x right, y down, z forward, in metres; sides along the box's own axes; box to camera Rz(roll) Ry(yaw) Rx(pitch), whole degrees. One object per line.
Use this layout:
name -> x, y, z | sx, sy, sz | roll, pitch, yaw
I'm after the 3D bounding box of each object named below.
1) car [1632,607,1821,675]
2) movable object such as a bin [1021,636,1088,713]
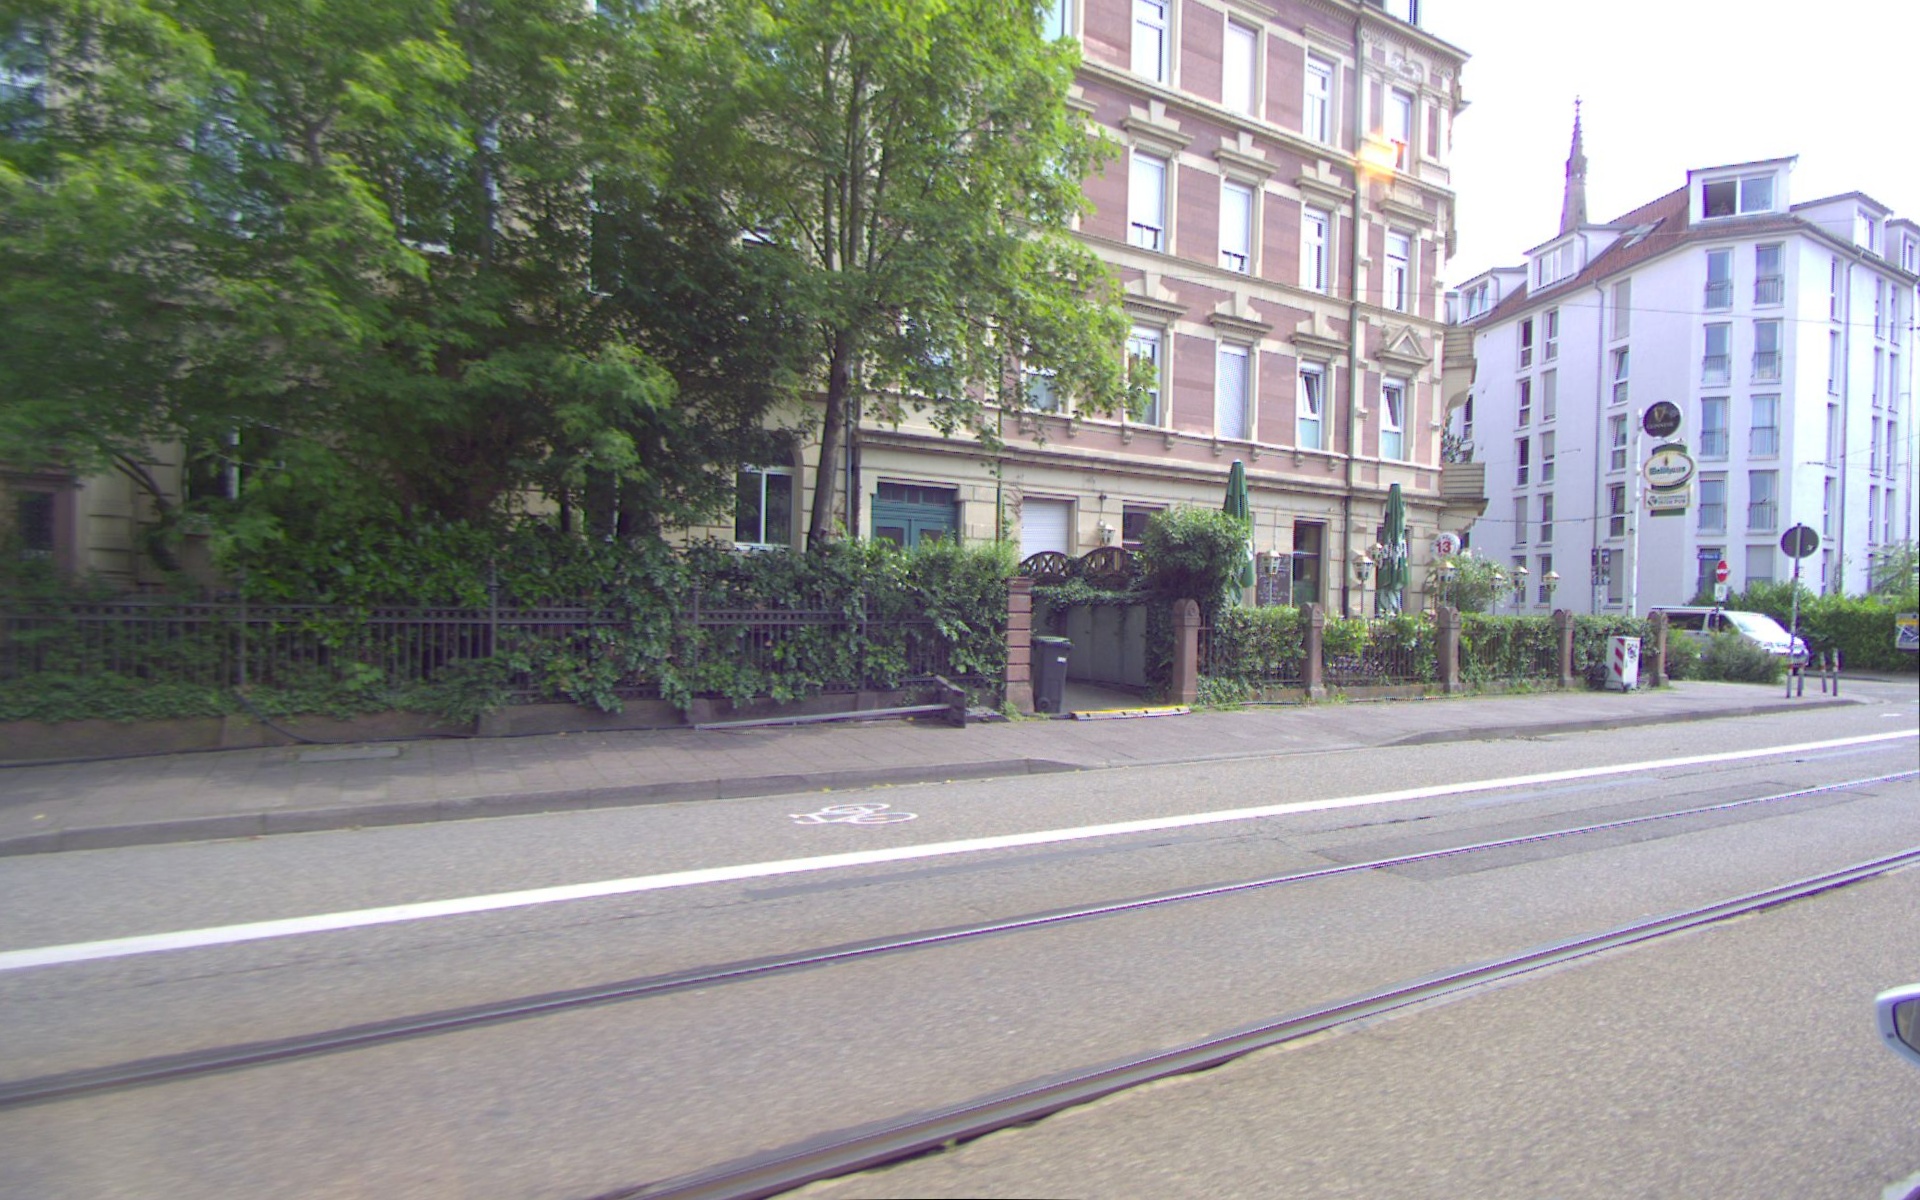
car -> 24.740, 1.266, 32.708 | 2.012, 2.040, 4.940 | 1, -1, -8
movable object such as a bin -> 1.222, 0.949, 12.979 | 0.633, 0.937, 0.576 | 1, 0, -30
